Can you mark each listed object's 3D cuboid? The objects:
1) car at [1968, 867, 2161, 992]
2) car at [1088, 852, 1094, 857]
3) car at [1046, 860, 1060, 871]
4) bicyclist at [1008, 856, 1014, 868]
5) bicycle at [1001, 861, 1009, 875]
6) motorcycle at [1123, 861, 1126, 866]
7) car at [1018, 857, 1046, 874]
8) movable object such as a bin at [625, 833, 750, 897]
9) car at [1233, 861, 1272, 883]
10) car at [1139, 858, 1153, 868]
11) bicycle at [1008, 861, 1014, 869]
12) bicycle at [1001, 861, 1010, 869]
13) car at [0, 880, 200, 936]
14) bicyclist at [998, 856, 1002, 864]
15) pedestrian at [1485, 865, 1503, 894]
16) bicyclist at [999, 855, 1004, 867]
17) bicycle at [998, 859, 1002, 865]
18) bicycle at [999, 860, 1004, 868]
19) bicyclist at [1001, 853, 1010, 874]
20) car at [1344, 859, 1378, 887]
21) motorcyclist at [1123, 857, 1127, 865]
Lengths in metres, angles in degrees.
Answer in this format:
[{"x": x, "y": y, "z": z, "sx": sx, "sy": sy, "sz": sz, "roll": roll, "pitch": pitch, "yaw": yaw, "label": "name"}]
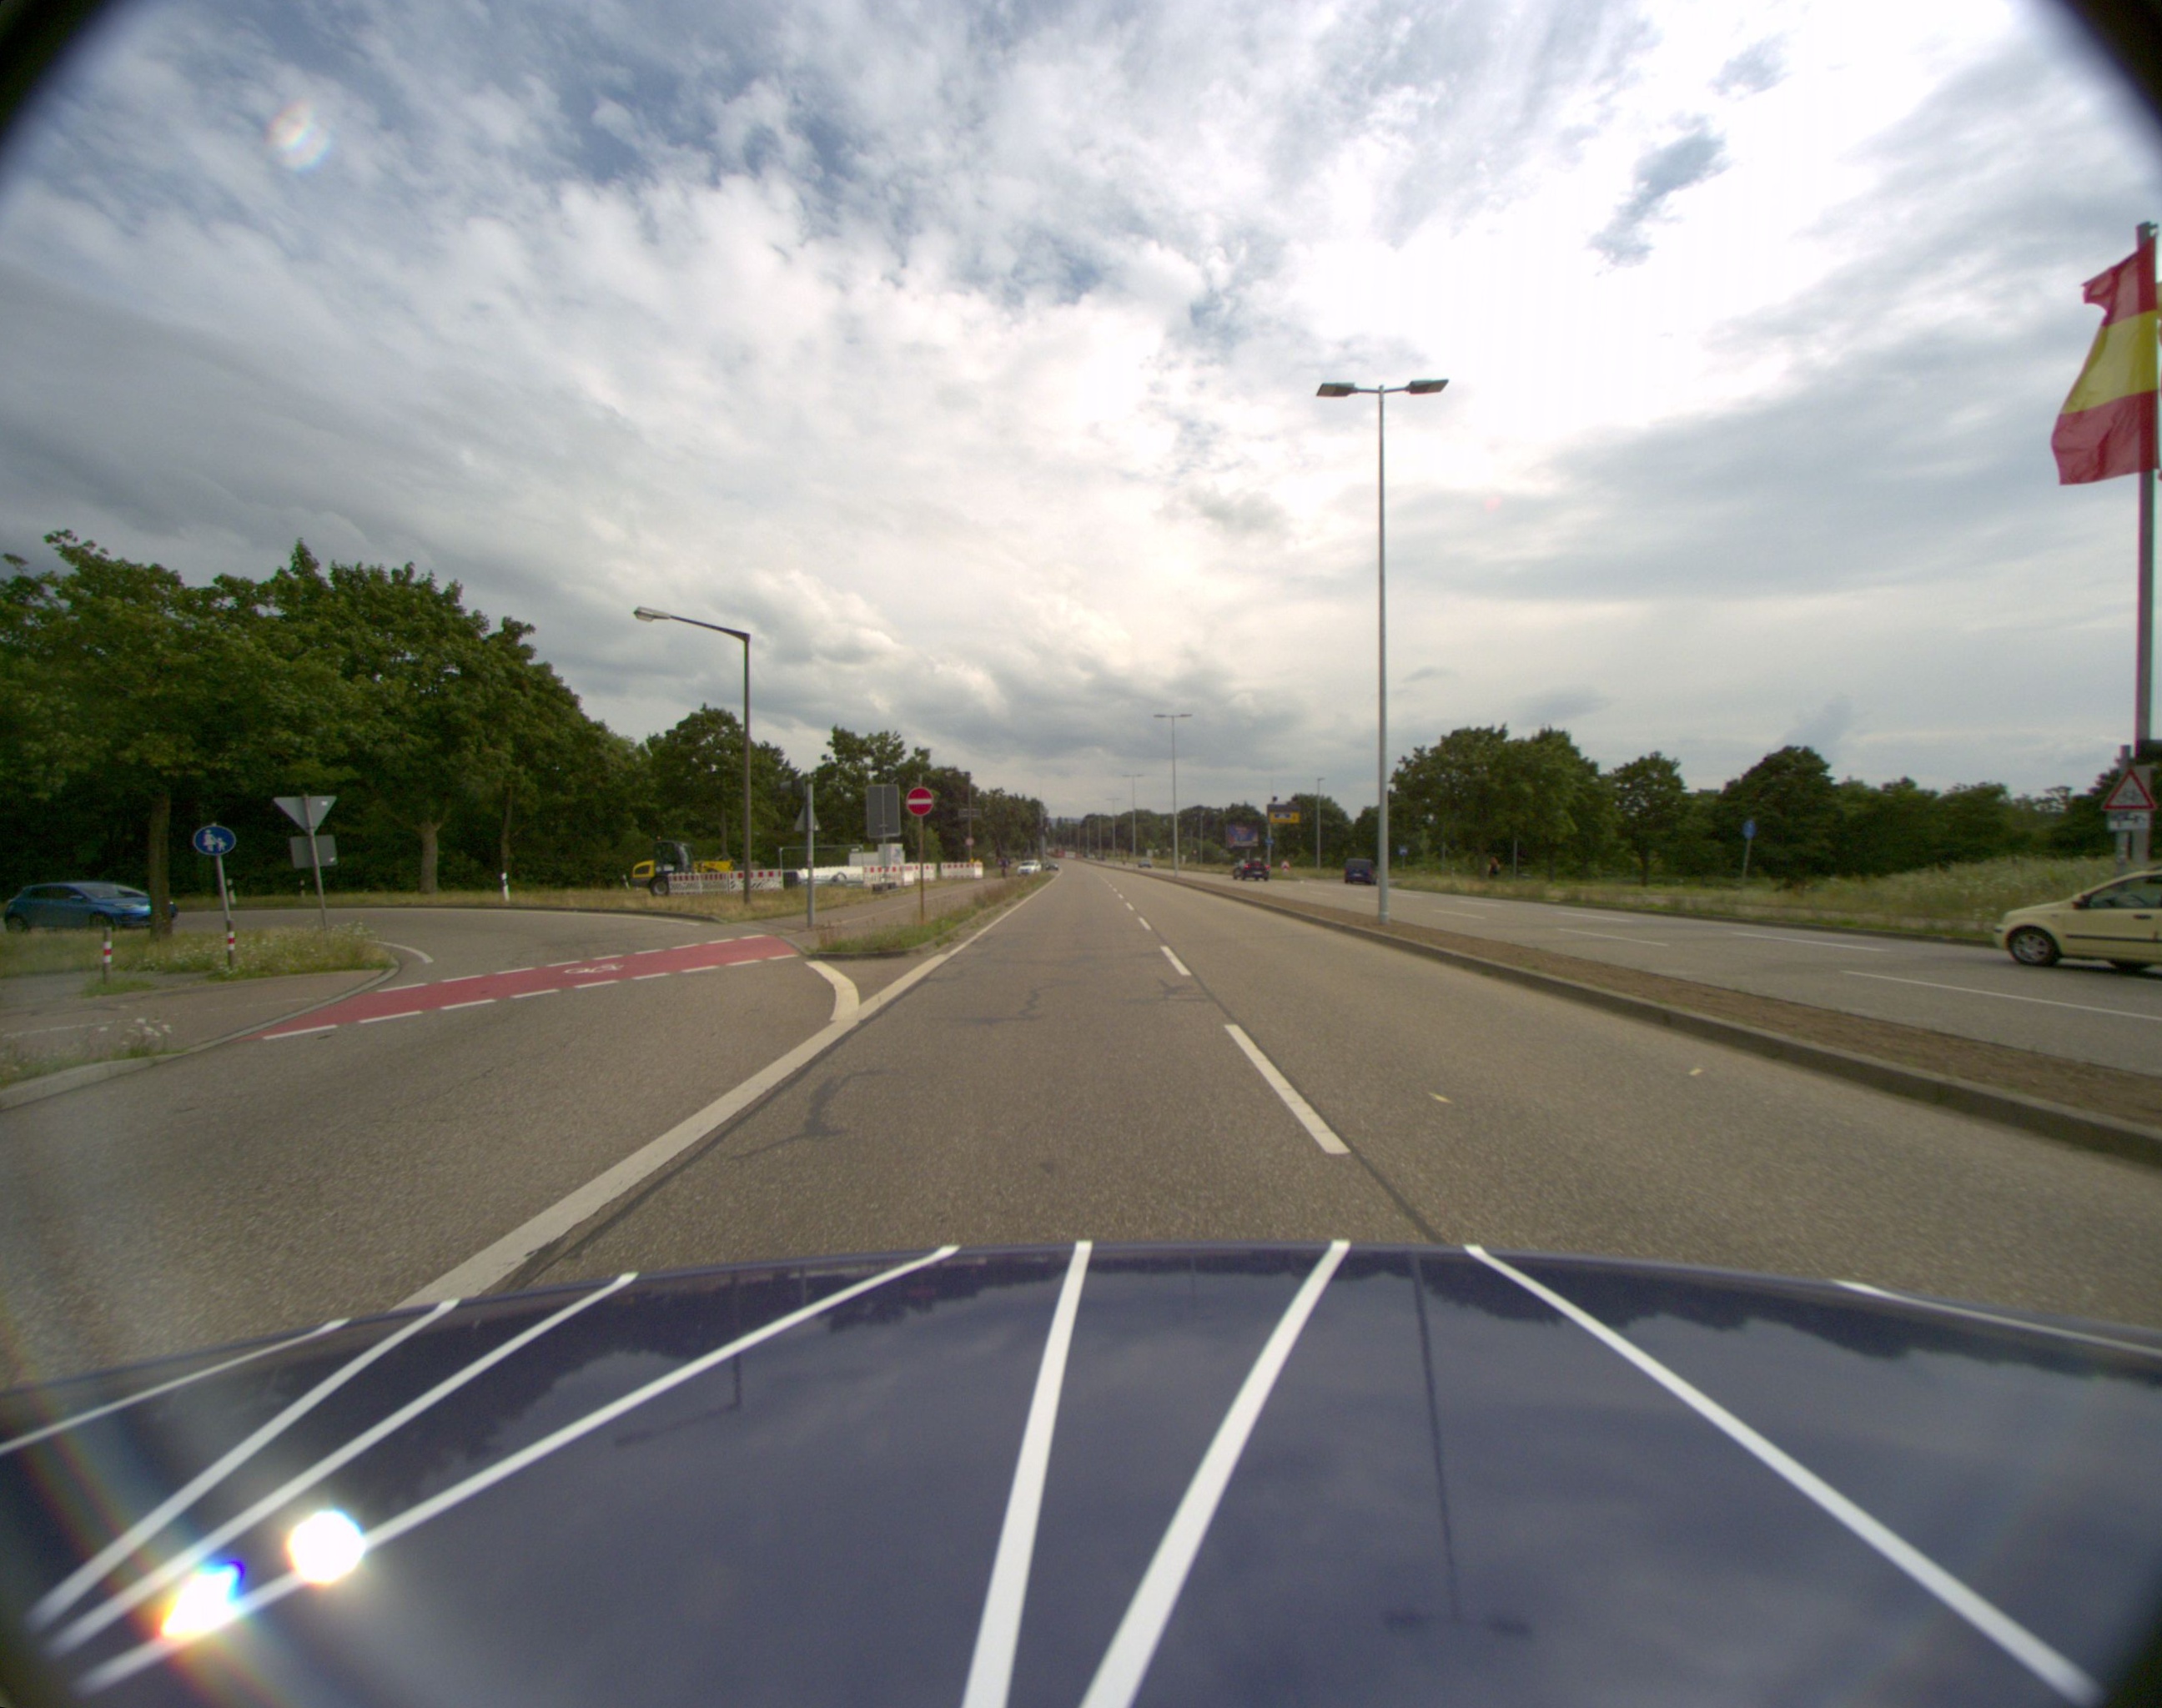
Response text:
[{"x": 14.712, "y": 1.012, "z": 10.082, "sx": 1.552, "sy": 1.569, "sz": 3.690, "roll": 1, "pitch": 0, "yaw": 0, "label": "car"}, {"x": 3.134, "y": 0.157, "z": 239.068, "sx": 1.773, "sy": 1.644, "sz": 4.637, "roll": 1, "pitch": 0, "yaw": -3, "label": "car"}, {"x": -3.844, "y": 1.521, "z": 104.336, "sx": 1.773, "sy": 1.439, "sz": 4.322, "roll": -1, "pitch": 0, "yaw": -4, "label": "car"}, {"x": -9.431, "y": 1.052, "z": 102.179, "sx": 0.743, "sy": 1.509, "sz": 0.958, "roll": -2, "pitch": 1, "yaw": -3, "label": "bicyclist"}, {"x": -6.055, "y": 1.107, "z": 60.949, "sx": 0.575, "sy": 1.141, "sz": 1.981, "roll": 0, "pitch": 0, "yaw": -4, "label": "bicycle"}, {"x": 9.229, "y": 1.975, "z": 160.647, "sx": 0.524, "sy": 0.961, "sz": 2.219, "roll": 0, "pitch": 0, "yaw": -1, "label": "motorcycle"}, {"x": -4.740, "y": 1.117, "z": 74.139, "sx": 1.851, "sy": 1.493, "sz": 4.002, "roll": -3, "pitch": 1, "yaw": 8, "label": "car"}, {"x": -17.797, "y": 0.467, "z": 34.518, "sx": 4.511, "sy": 2.674, "sz": 2.102, "roll": -2, "pitch": 1, "yaw": 5, "label": "movable object such as a bin"}, {"x": 11.811, "y": 1.213, "z": 52.625, "sx": 1.768, "sy": 1.432, "sz": 4.177, "roll": 1, "pitch": 0, "yaw": 0, "label": "car"}, {"x": 10.677, "y": 1.518, "z": 124.962, "sx": 1.852, "sy": 1.592, "sz": 4.560, "roll": 0, "pitch": 0, "yaw": -1, "label": "car"}, {"x": -9.411, "y": 1.427, "z": 102.182, "sx": 0.597, "sy": 1.030, "sz": 2.194, "roll": 0, "pitch": 0, "yaw": -3, "label": "bicycle"}, {"x": -9.701, "y": 1.410, "z": 97.479, "sx": 0.621, "sy": 1.000, "sz": 2.103, "roll": 2, "pitch": 2, "yaw": 6, "label": "bicycle"}, {"x": -31.548, "y": 1.695, "z": 24.424, "sx": 3.998, "sy": 1.509, "sz": 1.879, "roll": -2, "pitch": 1, "yaw": -4, "label": "car"}, {"x": -12.555, "y": 0.932, "z": 118.027, "sx": 0.540, "sy": 1.275, "sz": 0.449, "roll": -2, "pitch": 1, "yaw": -3, "label": "bicyclist"}, {"x": 24.070, "y": 1.463, "z": 44.302, "sx": 0.865, "sy": 1.683, "sz": 0.680, "roll": 1, "pitch": 0, "yaw": 31, "label": "pedestrian"}, {"x": -11.345, "y": 1.036, "z": 108.162, "sx": 0.653, "sy": 1.648, "sz": 0.780, "roll": -2, "pitch": 1, "yaw": -3, "label": "bicyclist"}, {"x": -12.555, "y": 1.203, "z": 118.046, "sx": 0.515, "sy": 0.958, "sz": 1.781, "roll": 0, "pitch": 1, "yaw": -3, "label": "bicycle"}, {"x": -11.336, "y": 1.399, "z": 108.139, "sx": 0.515, "sy": 1.141, "sz": 2.231, "roll": 0, "pitch": 1, "yaw": -3, "label": "bicycle"}, {"x": -6.053, "y": 0.746, "z": 60.979, "sx": 0.653, "sy": 1.648, "sz": 0.876, "roll": -2, "pitch": 1, "yaw": -4, "label": "bicyclist"}, {"x": 20.845, "y": 1.380, "z": 56.415, "sx": 1.848, "sy": 1.883, "sz": 5.515, "roll": 2, "pitch": 0, "yaw": 25, "label": "car"}, {"x": 9.226, "y": 1.490, "z": 160.595, "sx": 0.772, "sy": 1.579, "sz": 0.896, "roll": 1, "pitch": 0, "yaw": -1, "label": "motorcyclist"}]
